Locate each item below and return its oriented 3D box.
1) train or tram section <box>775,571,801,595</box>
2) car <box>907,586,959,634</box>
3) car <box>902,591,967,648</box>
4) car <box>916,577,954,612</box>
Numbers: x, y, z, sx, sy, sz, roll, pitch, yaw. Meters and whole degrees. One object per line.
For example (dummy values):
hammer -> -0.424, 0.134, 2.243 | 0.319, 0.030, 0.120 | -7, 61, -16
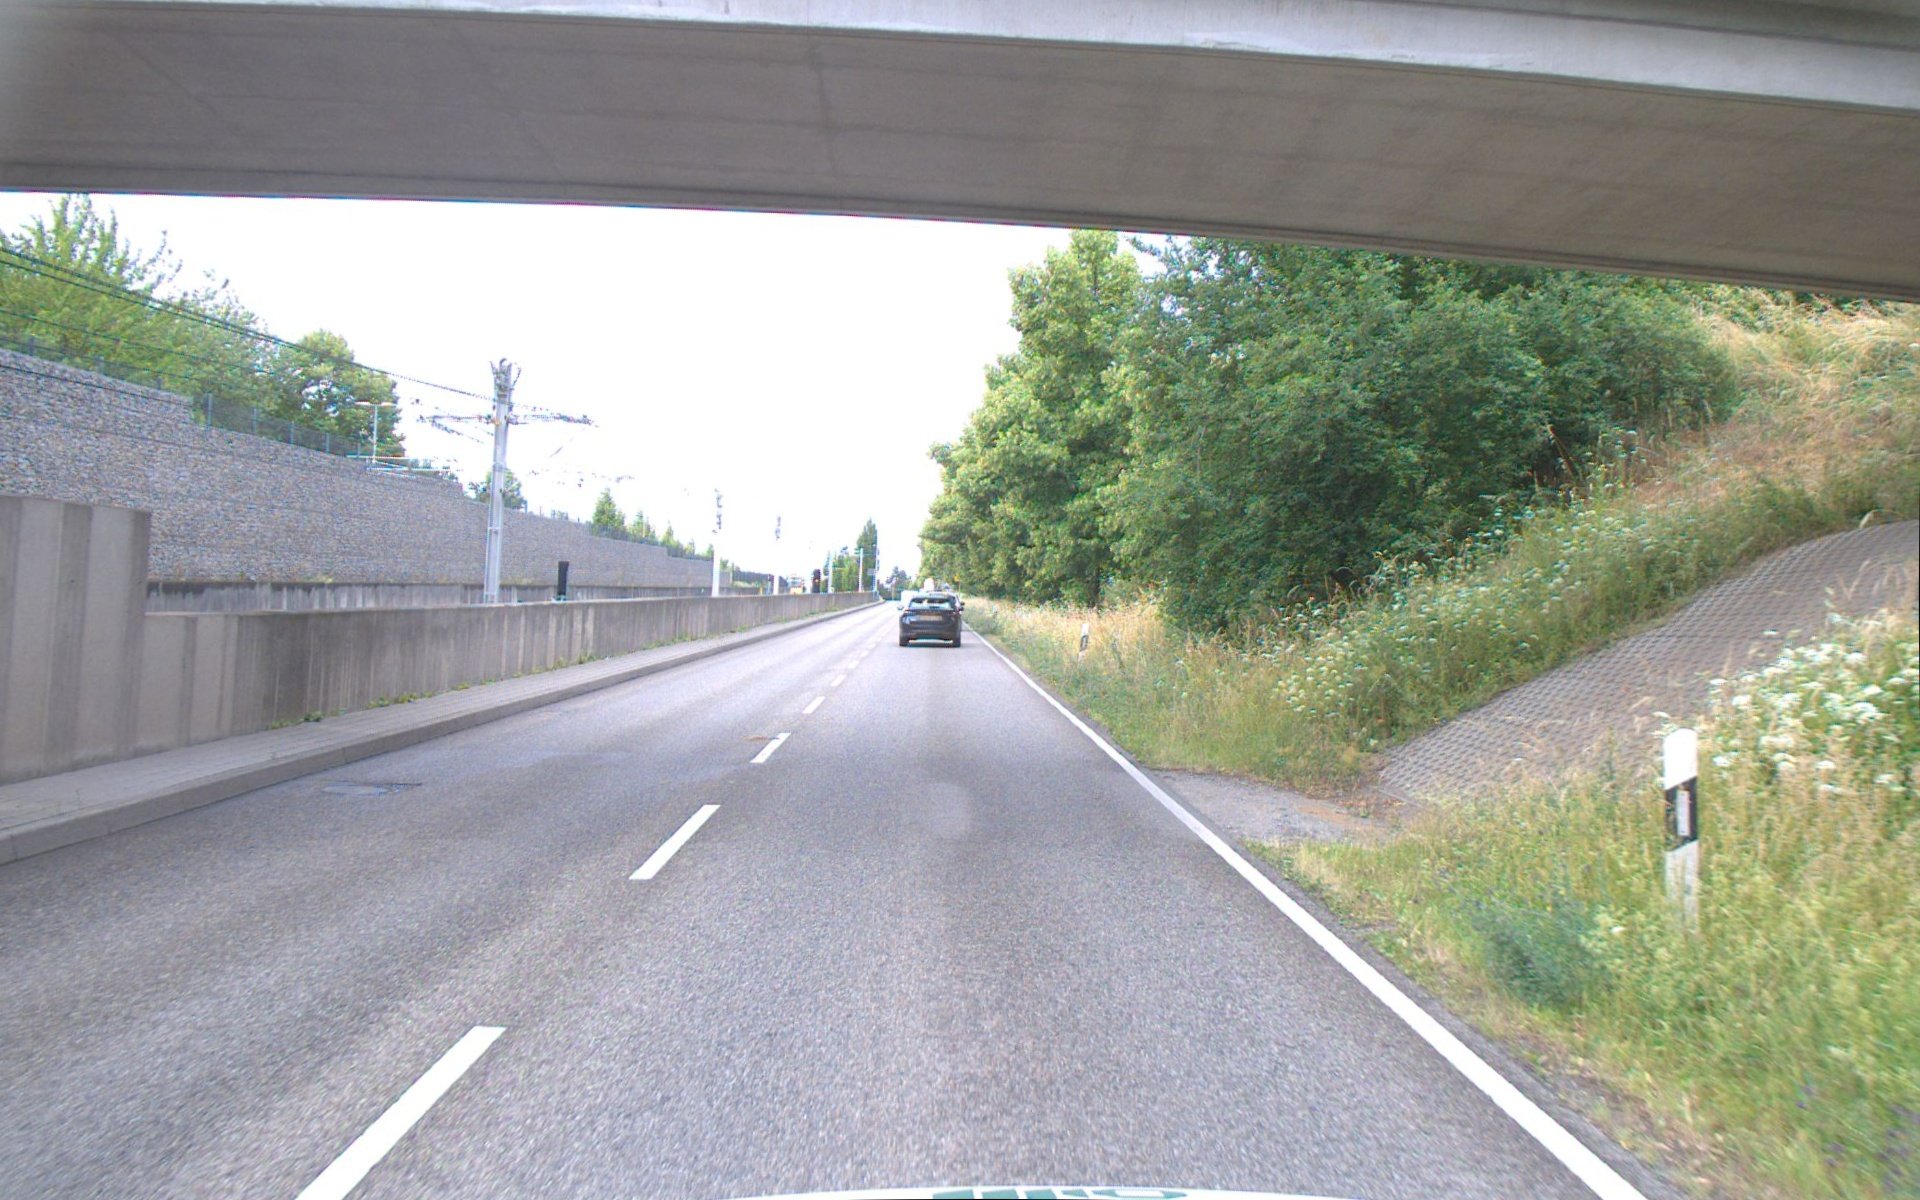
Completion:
train or tram section -> -26.764, -2.576, 256.686 | 2.760, 3.172, 18.871 | 1, -1, -9
car -> -1.082, 0.390, 65.521 | 1.953, 1.783, 3.999 | 2, 0, -1
car -> -0.726, 0.517, 46.934 | 1.745, 1.493, 3.999 | 2, 0, -1
car -> -1.321, -0.267, 87.905 | 1.953, 1.771, 3.999 | 1, -1, -1
